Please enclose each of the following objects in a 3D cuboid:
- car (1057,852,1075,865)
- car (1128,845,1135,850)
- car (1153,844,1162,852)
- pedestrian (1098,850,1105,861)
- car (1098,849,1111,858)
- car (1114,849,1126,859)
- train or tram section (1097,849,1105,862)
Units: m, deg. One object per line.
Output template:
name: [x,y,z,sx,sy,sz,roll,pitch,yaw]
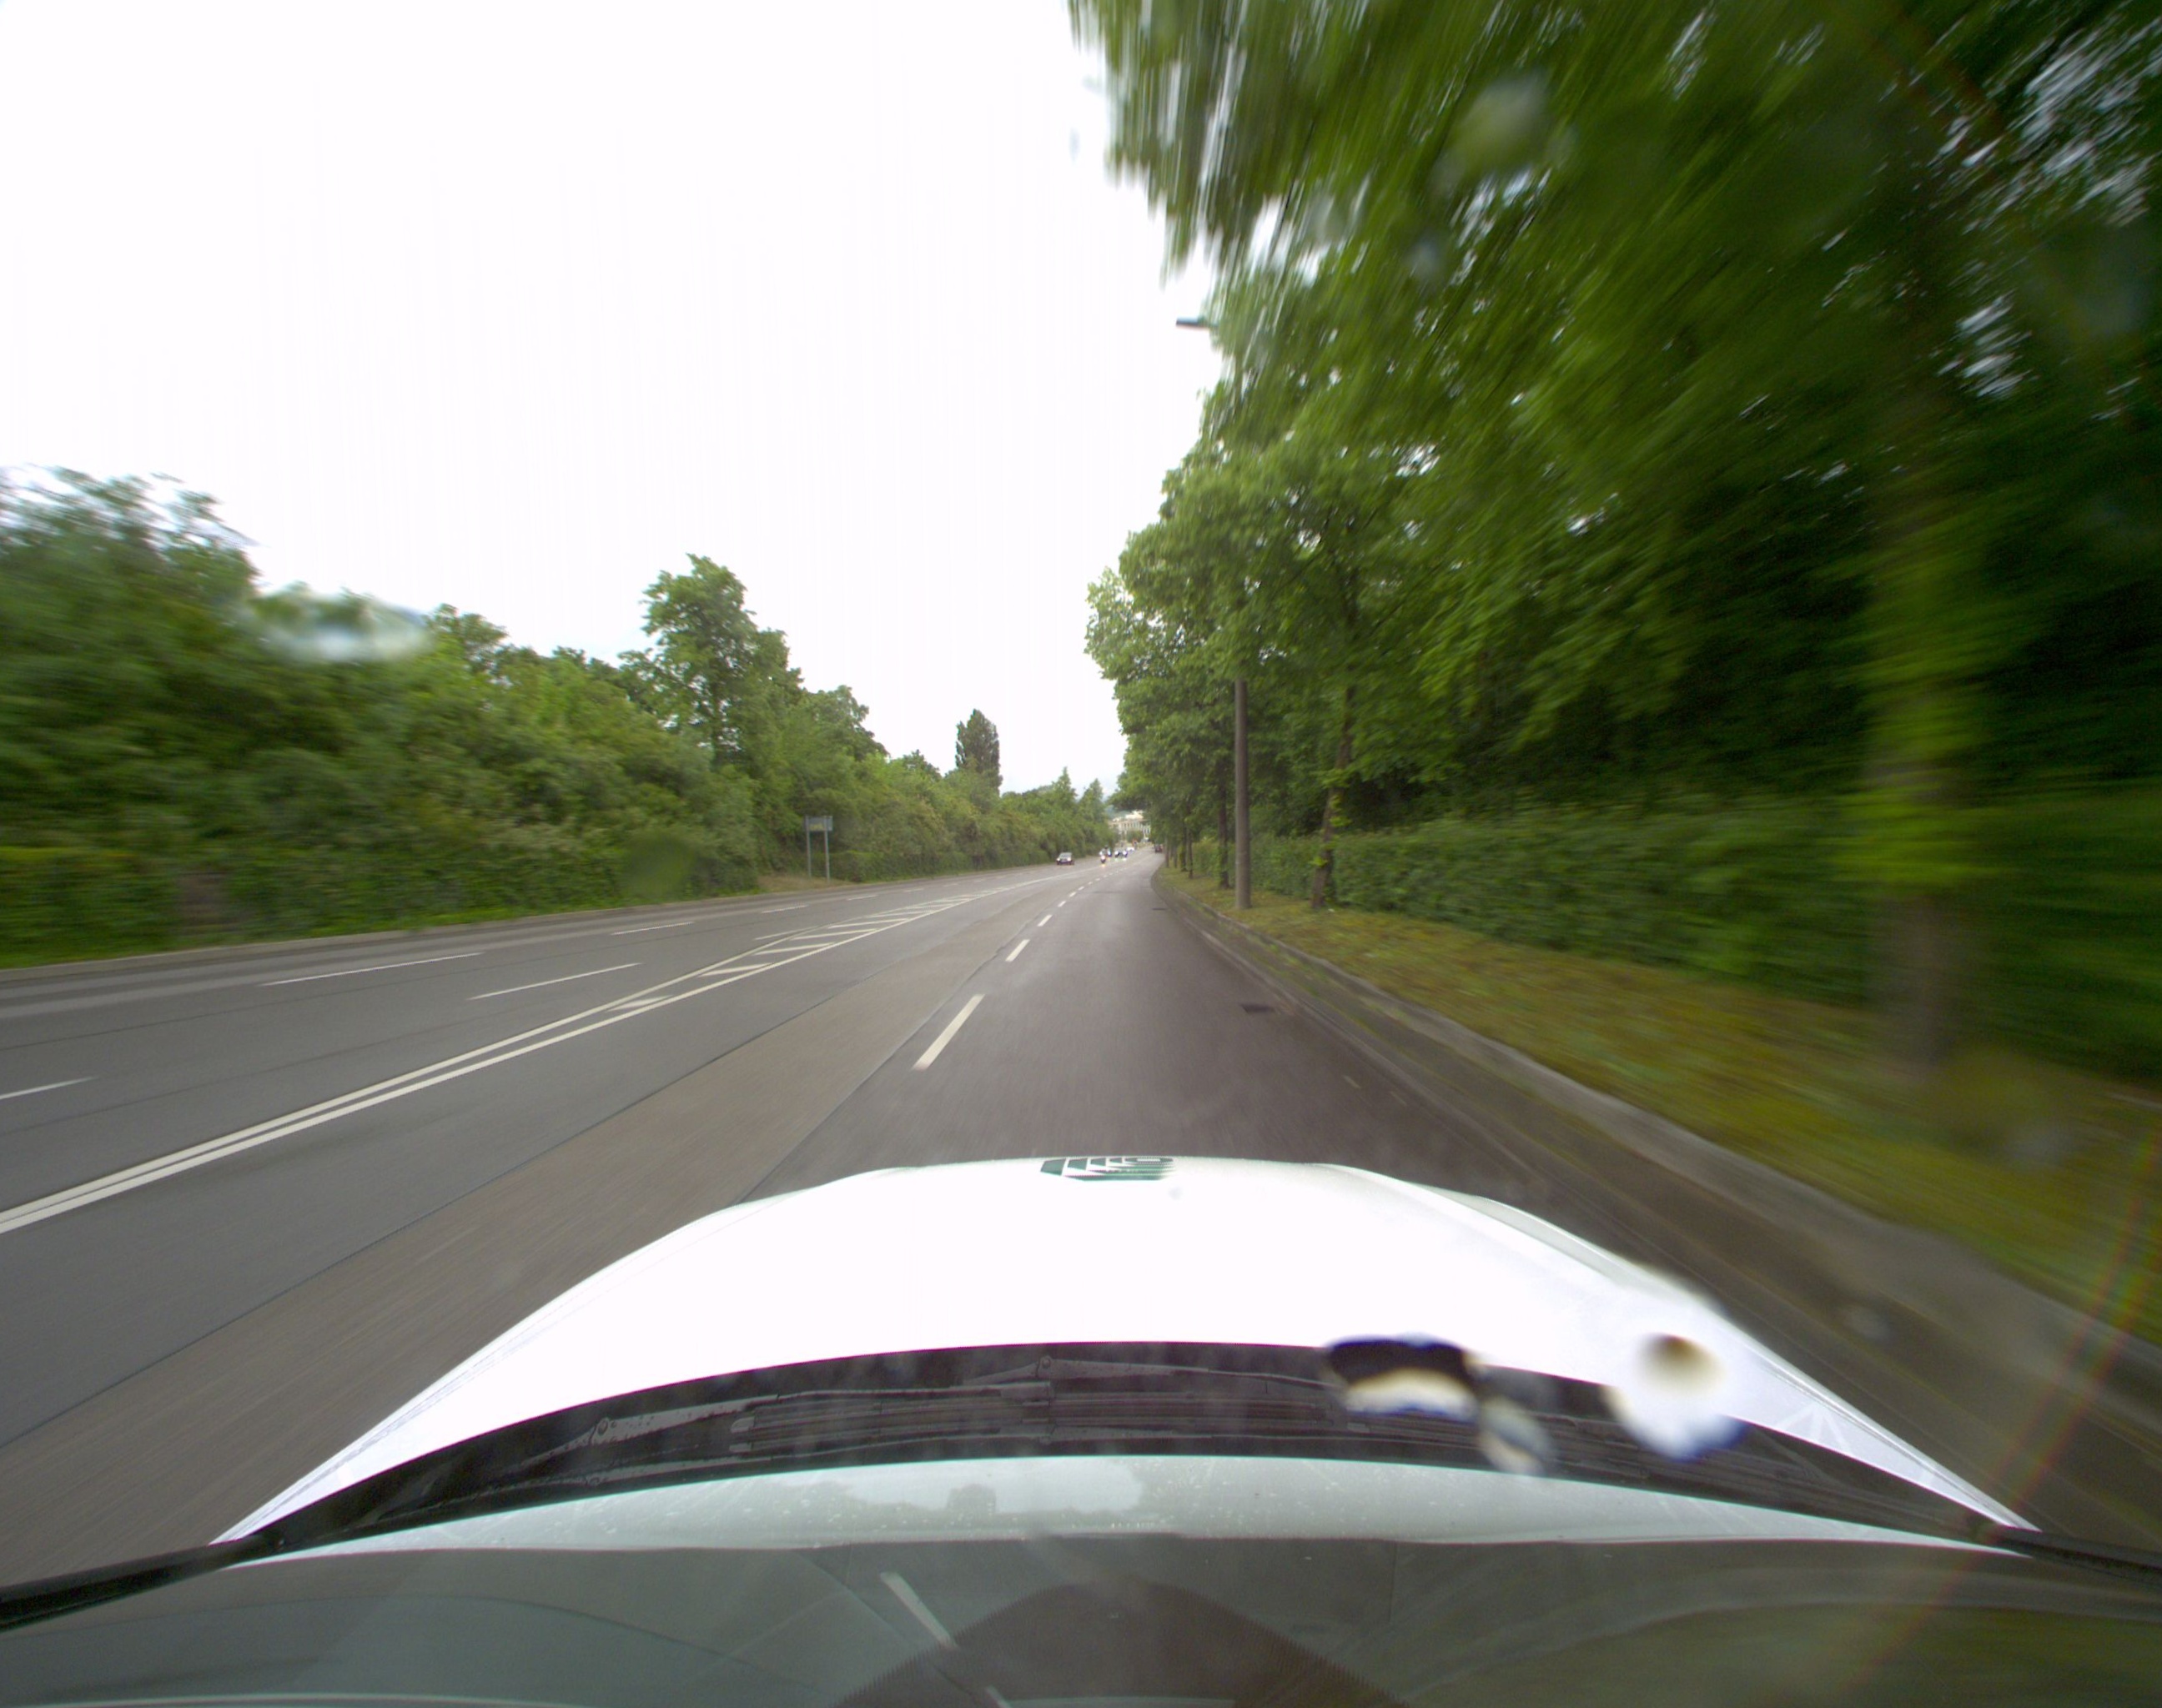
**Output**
car: [-1.716,0.477,93.799,1.541,1.437,3.702,0,0,6]
car: [15.539,-2.131,251.467,1.706,1.505,4.525,1,1,7]
car: [18.731,-1.435,198.929,1.839,1.702,3.801,1,-1,8]
pedestrian: [2.592,0.169,103.023,0.787,1.383,0.976,1,0,5]
car: [4.368,-0.054,149.644,1.889,1.553,4.639,1,0,7]
car: [7.046,-0.018,145.567,1.803,1.657,4.603,1,0,6]
train or tram section: [2.588,0.169,103.017,0.787,1.570,2.387,1,0,5]
